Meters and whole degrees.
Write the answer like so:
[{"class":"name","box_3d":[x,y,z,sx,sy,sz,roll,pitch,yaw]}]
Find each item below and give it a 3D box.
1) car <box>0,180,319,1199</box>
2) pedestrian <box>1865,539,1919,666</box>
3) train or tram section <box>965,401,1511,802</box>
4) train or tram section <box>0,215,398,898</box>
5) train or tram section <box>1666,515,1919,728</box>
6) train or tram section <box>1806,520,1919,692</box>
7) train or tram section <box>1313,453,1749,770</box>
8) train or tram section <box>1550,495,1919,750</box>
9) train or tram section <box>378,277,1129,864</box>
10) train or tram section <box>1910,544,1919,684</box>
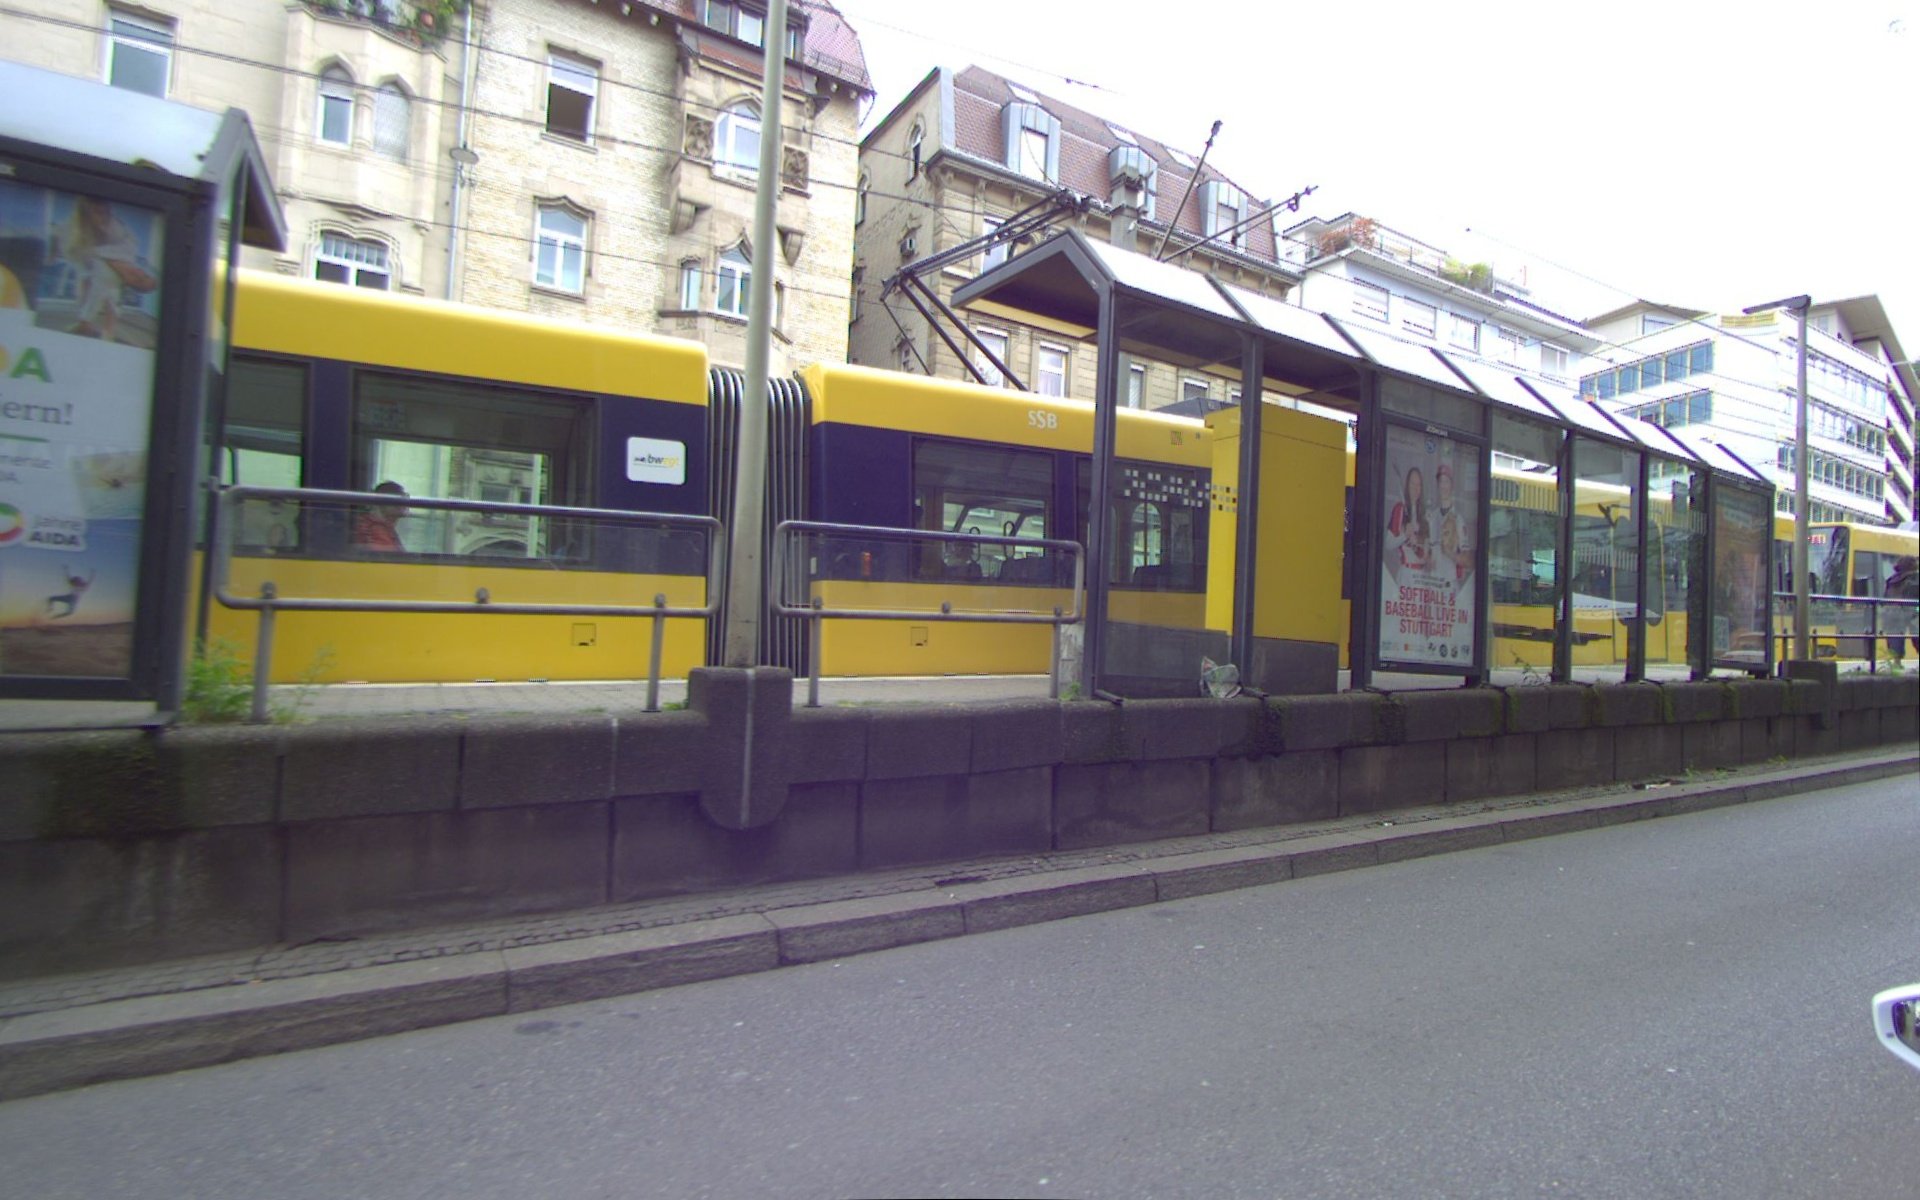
[{"class":"car","box_3d":[-3.794,0.430,0.950,5.085,2.040,2.355,3,-1,-28]},{"class":"pedestrian","box_3d":[13.717,0.051,14.579,0.837,1.785,0.624,1,-1,-30]},{"class":"train or tram section","box_3d":[3.249,0.101,11.577,5.683,3.567,2.822,2,0,-30]},{"class":"train or tram section","box_3d":[-6.657,-0.269,5.936,5.683,3.567,2.822,2,0,-30]},{"class":"train or tram section","box_3d":[17.625,0.475,20.466,6.674,3.715,2.799,2,-1,-31]},{"class":"train or tram section","box_3d":[23.323,0.242,23.943,6.674,3.715,2.799,2,-1,-31]},{"class":"train or tram section","box_3d":[8.257,0.221,14.441,5.832,3.715,2.800,2,0,-30]},{"class":"train or tram section","box_3d":[13.677,0.432,17.559,6.671,3.715,2.800,2,-1,-30]},{"class":"train or tram section","box_3d":[-1.689,-0.094,8.752,5.683,3.567,2.822,2,0,-30]},{"class":"train or tram section","box_3d":[29.025,0.500,27.408,6.674,3.715,2.799,2,-1,-31]}]
